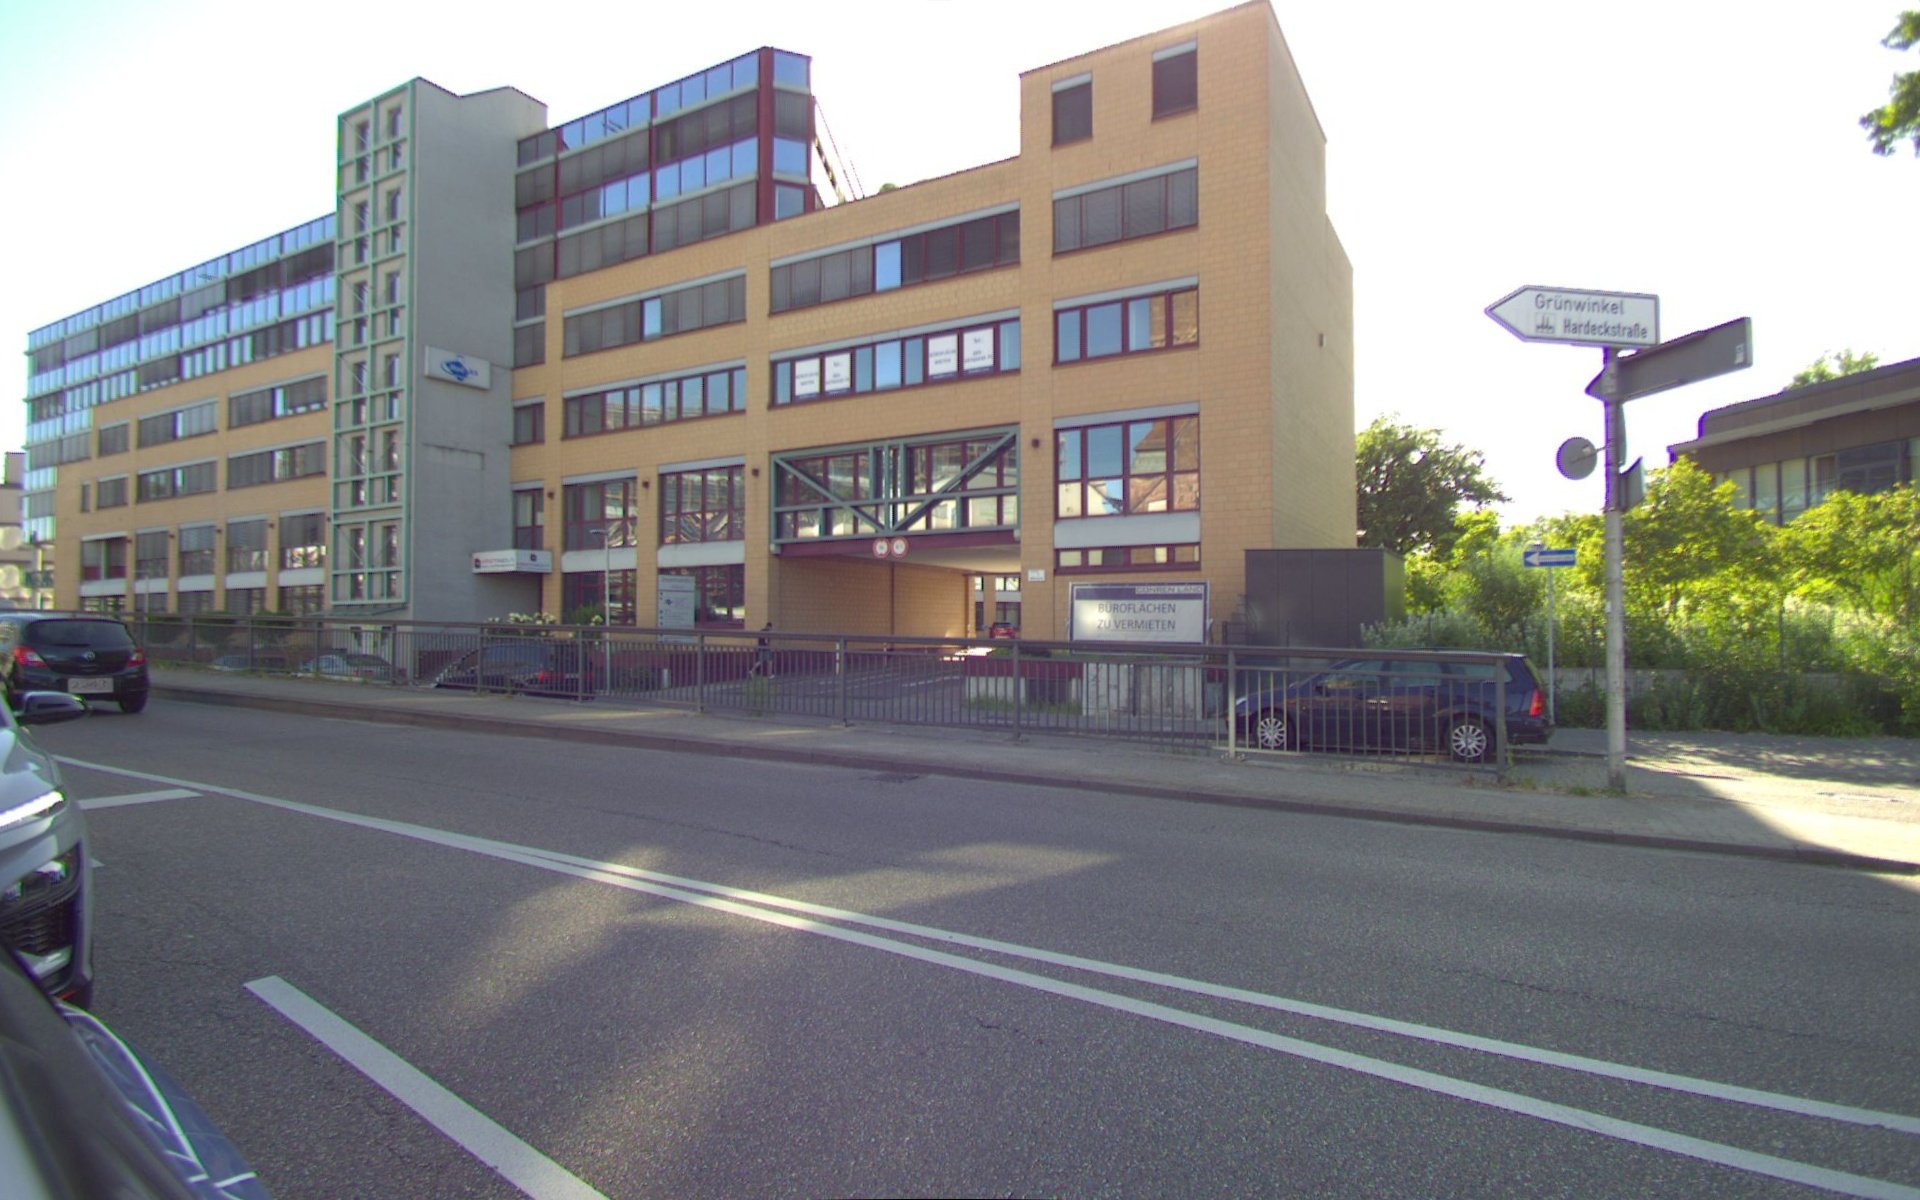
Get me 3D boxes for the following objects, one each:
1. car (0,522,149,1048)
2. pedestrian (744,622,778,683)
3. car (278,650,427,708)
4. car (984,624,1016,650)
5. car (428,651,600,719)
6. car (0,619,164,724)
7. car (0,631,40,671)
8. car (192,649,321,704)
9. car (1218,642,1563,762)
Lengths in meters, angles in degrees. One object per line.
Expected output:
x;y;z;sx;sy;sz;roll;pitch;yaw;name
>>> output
-4.923;0.617;4.152;4.196;1.634;1.854;-2;-3;42;car
-6.214;1.627;31.603;0.703;1.865;0.738;-2;-1;35;pedestrian
-17.421;2.227;29.018;4.143;1.535;1.862;-2;-3;29;car
2.602;2.454;67.278;1.742;1.532;4.003;-1;0;-3;car
-10.965;2.033;24.859;4.139;1.535;1.624;-2;-3;27;car
-13.829;0.998;15.348;3.809;1.418;1.556;-1;-2;32;car
-40.063;2.102;41.893;3.988;1.519;1.978;-1;0;33;car
-21.925;2.339;31.507;3.986;1.576;1.865;-2;-3;32;car
6.153;1.443;14.709;4.367;1.520;1.640;-3;-5;34;car
